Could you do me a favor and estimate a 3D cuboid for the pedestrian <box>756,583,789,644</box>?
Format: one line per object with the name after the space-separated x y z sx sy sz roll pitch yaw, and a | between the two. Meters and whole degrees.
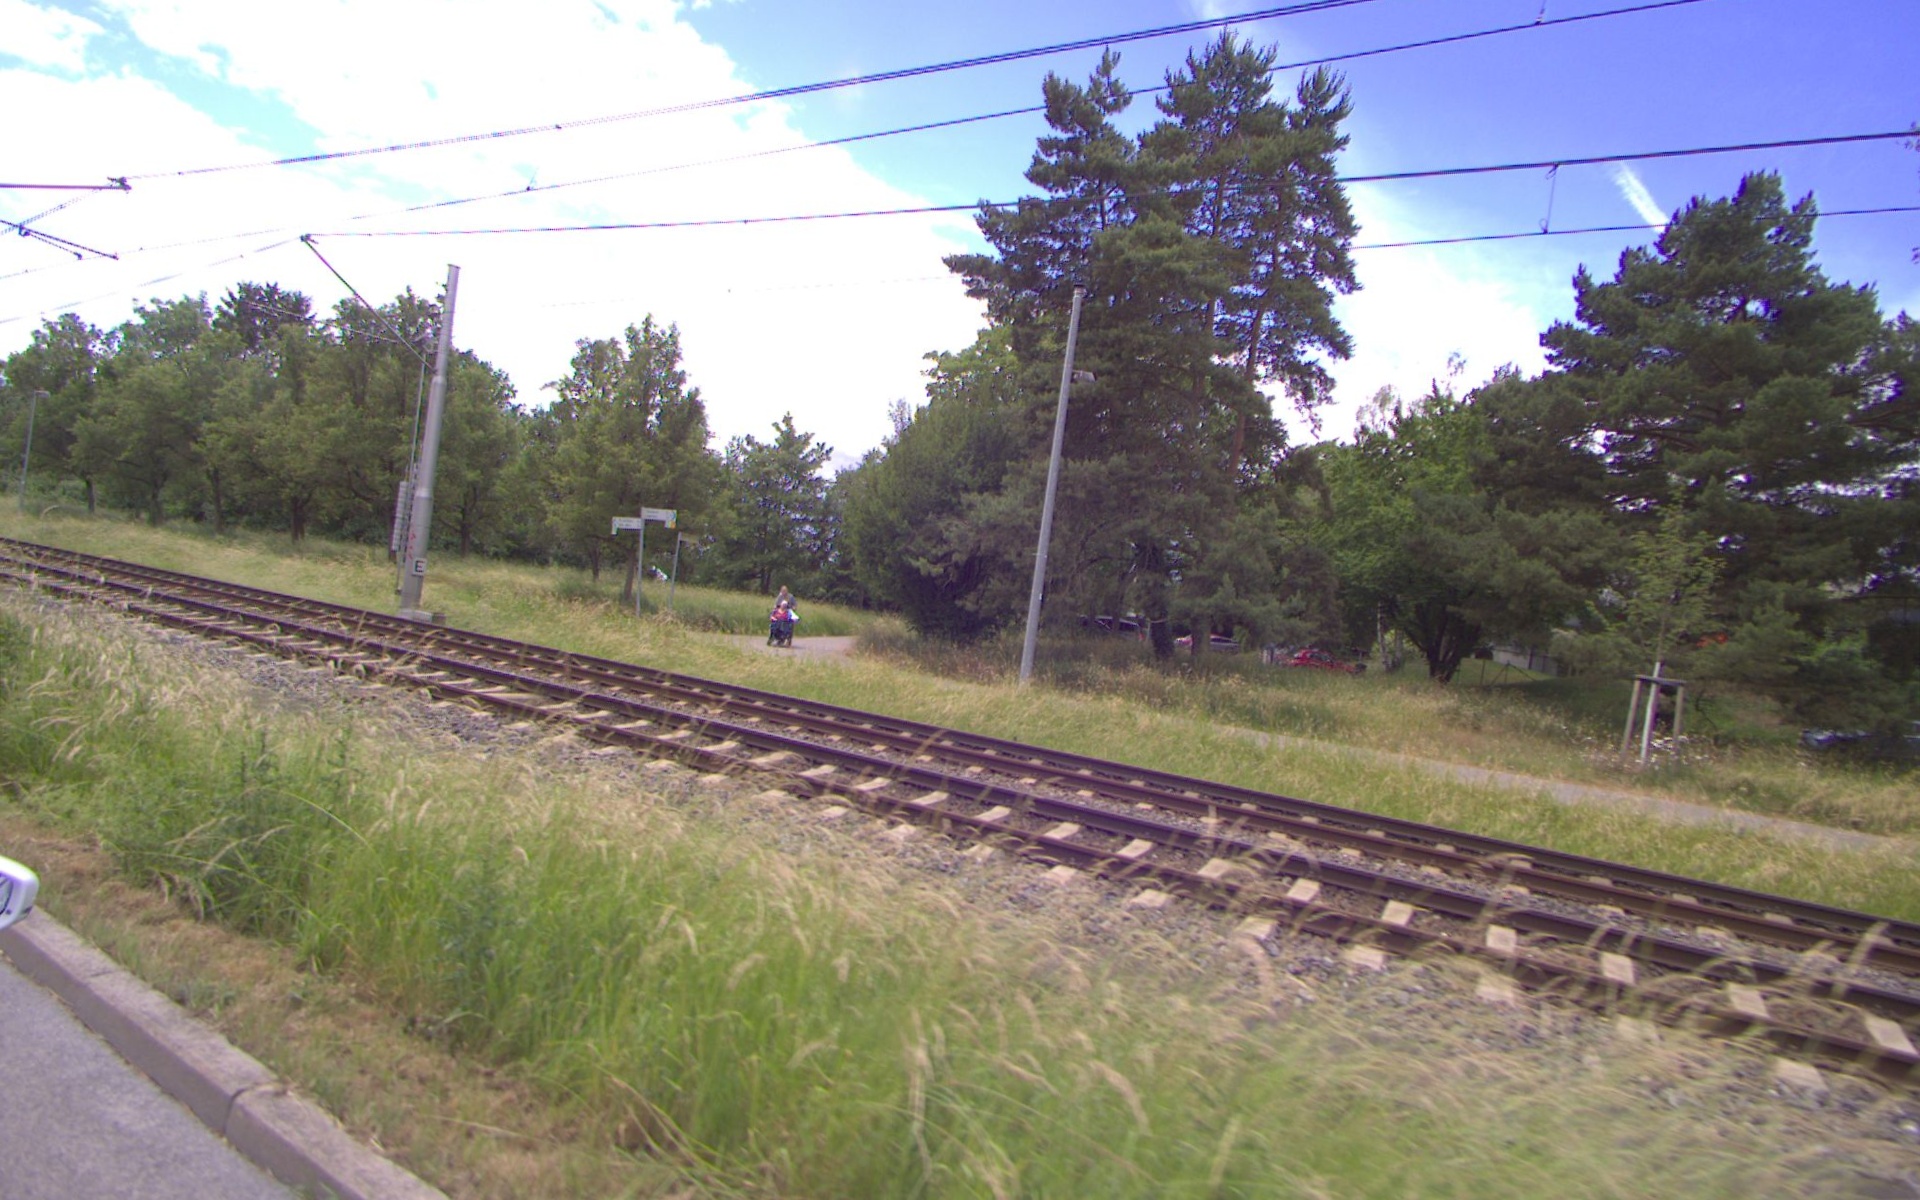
-5.414 0.376 29.057 0.648 1.687 0.955 6 0 -18 | pedestrian

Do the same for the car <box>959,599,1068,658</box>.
2.188 1.157 40.787 3.925 1.825 1.750 7 0 19 | car

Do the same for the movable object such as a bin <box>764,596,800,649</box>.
-4.946 0.610 27.870 0.650 1.326 1.637 6 0 -17 | movable object such as a bin

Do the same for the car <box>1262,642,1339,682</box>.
19.522 3.536 57.787 3.743 1.754 1.832 8 -1 6 | car

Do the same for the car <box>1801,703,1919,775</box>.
27.885 4.231 29.997 3.935 1.720 1.996 7 -1 34 | car

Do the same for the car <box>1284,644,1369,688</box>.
19.267 3.453 53.015 3.743 1.754 1.832 8 -1 6 | car
